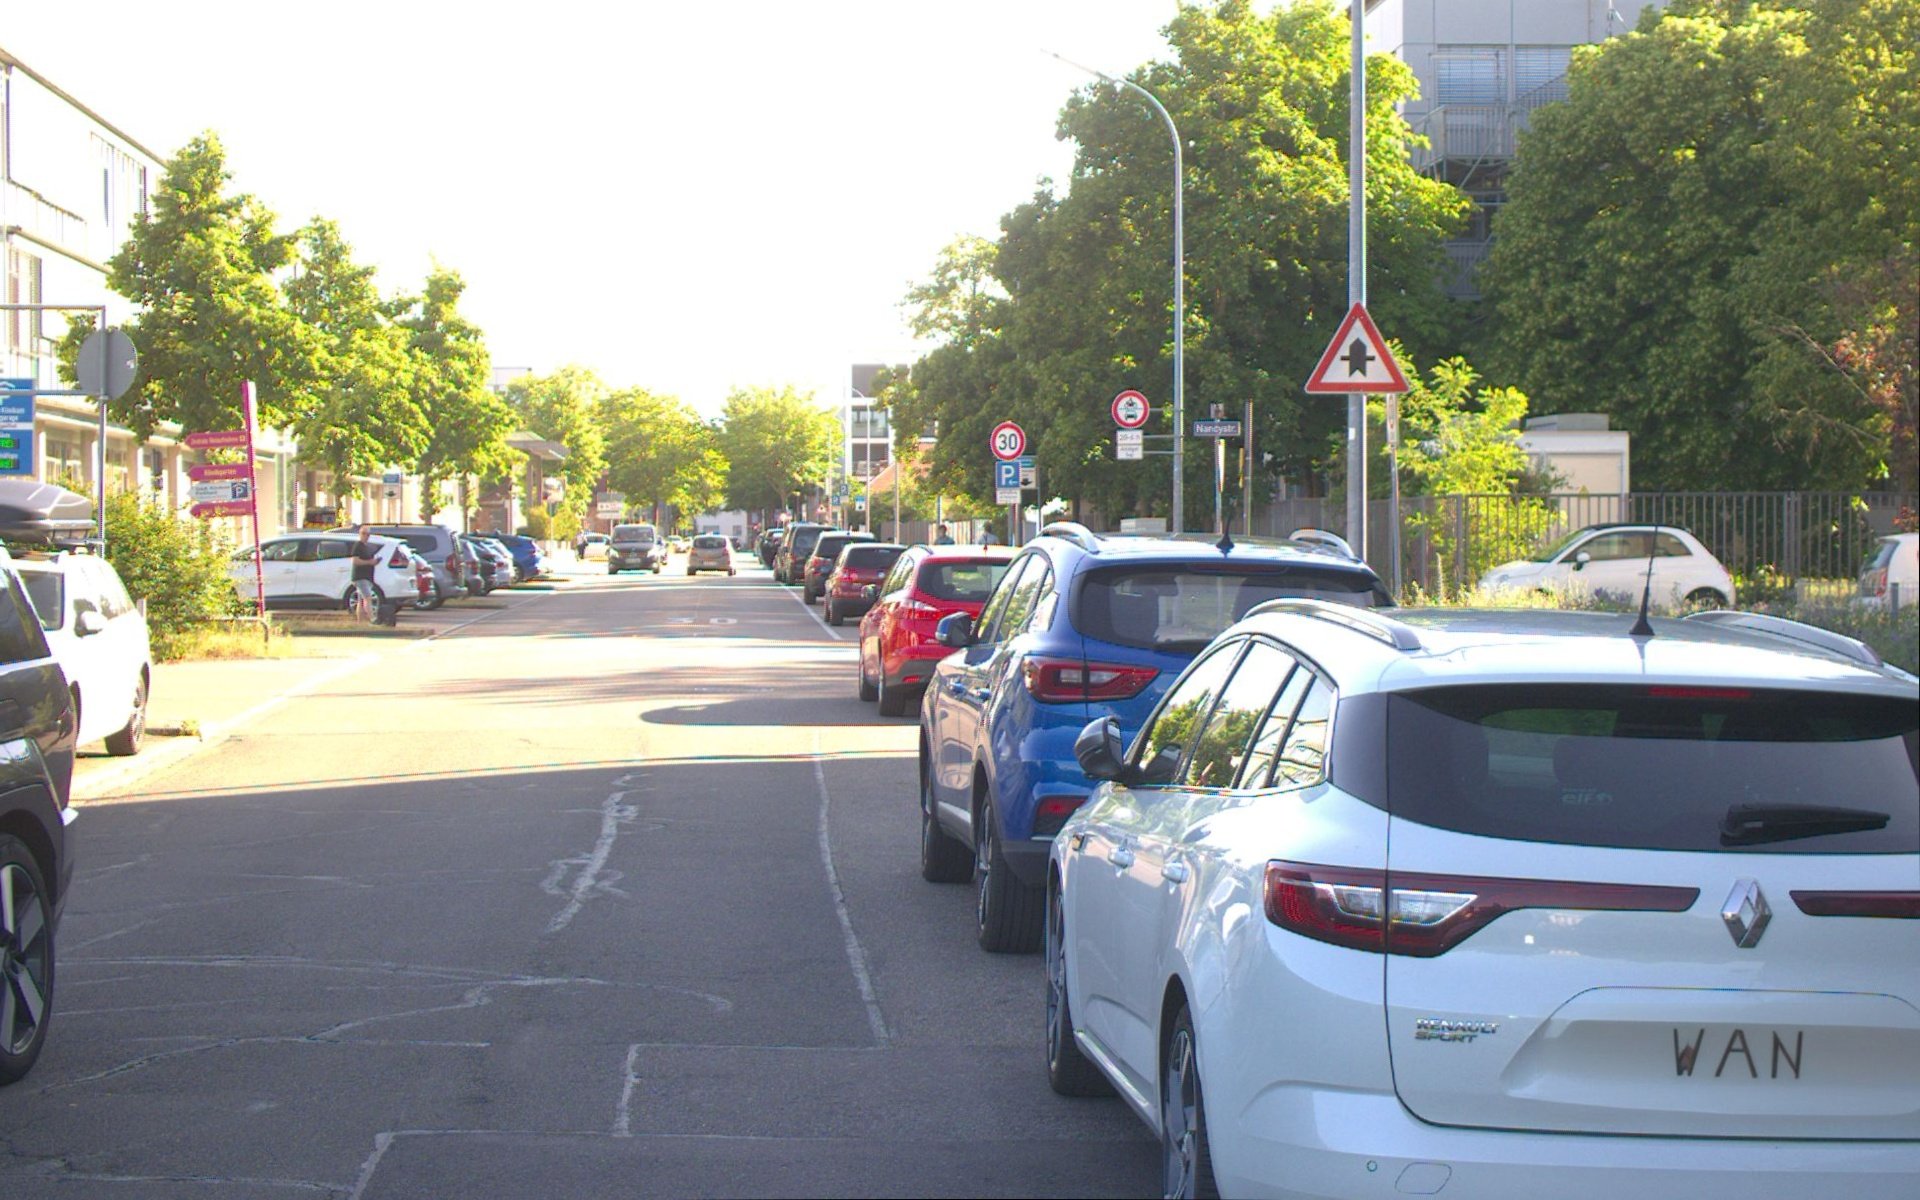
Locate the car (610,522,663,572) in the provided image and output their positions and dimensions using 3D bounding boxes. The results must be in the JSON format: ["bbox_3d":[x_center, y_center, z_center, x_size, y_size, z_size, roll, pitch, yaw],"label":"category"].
[{"bbox_3d":[-12.372,-2.043,131.381,1.954,1.861,5.256,0,1,-6],"label":"car"}]

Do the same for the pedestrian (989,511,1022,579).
[{"bbox_3d":[1.131,-1.364,85.515,0.698,1.655,0.752,-3,1,-4],"label":"pedestrian"}]

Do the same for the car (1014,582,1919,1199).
[{"bbox_3d":[1.187,0.725,8.165,1.744,1.424,4.586,2,1,-3],"label":"car"}]

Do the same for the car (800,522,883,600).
[{"bbox_3d":[-2.764,-0.928,79.225,1.812,1.660,4.593,1,2,-3],"label":"car"}]

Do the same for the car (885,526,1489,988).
[{"bbox_3d":[0.758,0.514,14.460,1.816,1.594,4.628,1,1,-5],"label":"car"}]

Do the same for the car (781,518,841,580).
[{"bbox_3d":[-4.519,-1.557,104.123,1.732,1.824,3.906,0,1,-4],"label":"car"}]

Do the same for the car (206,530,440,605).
[{"bbox_3d":[-12.764,-0.656,69.063,4.433,1.496,1.828,0,1,-3],"label":"car"}]

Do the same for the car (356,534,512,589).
[{"bbox_3d":[-13.785,-1.009,90.255,3.986,1.354,1.743,1,1,-7],"label":"car"}]

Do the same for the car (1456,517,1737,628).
[{"bbox_3d":[8.768,-0.390,47.504,3.546,1.481,1.600,0,1,-3],"label":"car"}]

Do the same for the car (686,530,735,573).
[{"bbox_3d":[-9.092,-1.773,125.308,1.743,1.538,4.001,0,1,-4],"label":"car"}]

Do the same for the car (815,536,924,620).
[{"bbox_3d":[-1.699,-0.435,63.223,1.719,1.450,4.653,1,1,-5],"label":"car"}]

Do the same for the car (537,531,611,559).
[{"bbox_3d":[-21.401,-3.029,190.779,3.986,1.514,2.000,0,0,-3],"label":"car"}]

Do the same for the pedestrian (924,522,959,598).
[{"bbox_3d":[-0.436,-0.957,81.072,0.717,1.752,0.885,-2,1,-3],"label":"pedestrian"}]

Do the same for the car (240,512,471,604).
[{"bbox_3d":[-13.084,-0.925,74.595,4.742,1.858,1.828,1,1,-3],"label":"car"}]

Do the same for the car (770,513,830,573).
[{"bbox_3d":[-5.437,-1.946,116.575,1.874,1.971,4.001,-1,1,-4],"label":"car"}]

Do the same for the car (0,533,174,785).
[{"bbox_3d":[-6.576,0.315,23.373,1.695,1.508,4.518,2,1,-4],"label":"car"}]

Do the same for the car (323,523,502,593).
[{"bbox_3d":[-13.447,-1.038,84.645,4.245,1.606,2.049,1,1,-7],"label":"car"}]

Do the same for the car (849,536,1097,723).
[{"bbox_3d":[0.040,0.207,30.798,1.818,1.494,4.453,1,1,-5],"label":"car"}]

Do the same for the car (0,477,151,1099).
[{"bbox_3d":[-3.736,0.568,8.458,1.943,1.721,4.838,-1,1,5],"label":"car"}]

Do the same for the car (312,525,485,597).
[{"bbox_3d":[-13.316,-0.941,81.693,3.986,1.601,1.872,1,1,-7],"label":"car"}]

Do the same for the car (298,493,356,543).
[{"bbox_3d":[-26.774,-3.454,145.496,1.993,2.007,4.000,0,0,-4],"label":"car"}]

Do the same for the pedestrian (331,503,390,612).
[{"bbox_3d":[-10.291,-0.730,59.022,0.857,1.836,0.826,2,1,-2],"label":"pedestrian"}]

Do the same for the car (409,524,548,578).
[{"bbox_3d":[-15.025,-1.534,107.410,4.213,1.597,1.872,1,1,-7],"label":"car"}]

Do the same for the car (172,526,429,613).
[{"bbox_3d":[-12.705,-0.588,66.384,4.611,1.645,1.868,0,1,0],"label":"car"}]

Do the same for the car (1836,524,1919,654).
[{"bbox_3d":[11.898,-0.146,39.362,3.326,1.453,1.715,0,1,1],"label":"car"}]
